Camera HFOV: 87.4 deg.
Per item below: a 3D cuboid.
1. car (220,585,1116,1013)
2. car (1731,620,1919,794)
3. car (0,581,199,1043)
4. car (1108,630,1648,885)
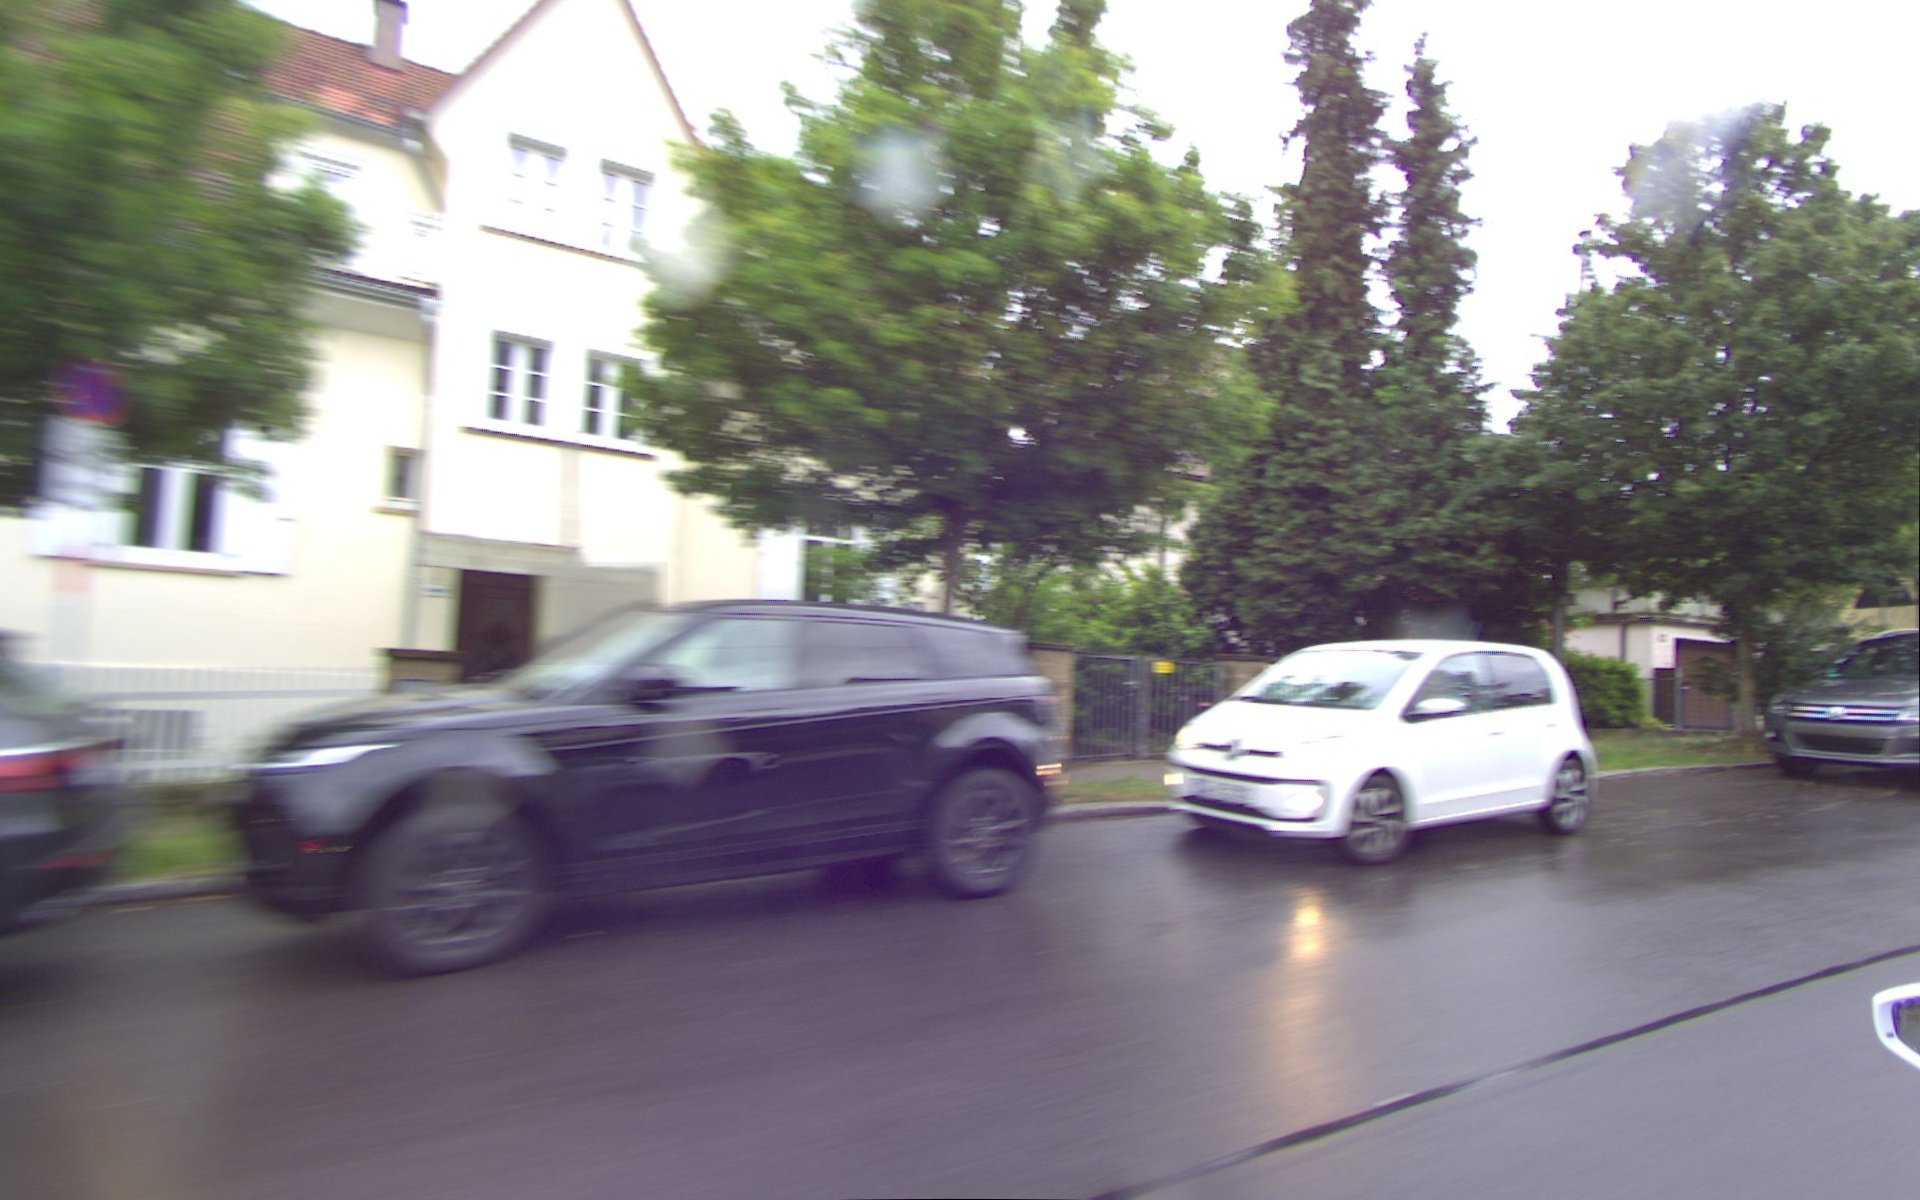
[{"bbox_3d":[-1.324,0.809,5.498,4.161,1.566,1.725,2,-2,-31],"label":"car"},{"bbox_3d":[11.043,1.137,11.363,4.364,1.690,1.797,1,-4,-24],"label":"car"},{"bbox_3d":[-5.548,0.662,3.107,4.849,1.566,1.857,2,-2,-31],"label":"car"},{"bbox_3d":[3.234,0.992,7.652,3.951,1.486,1.726,1,-1,-29],"label":"car"}]
